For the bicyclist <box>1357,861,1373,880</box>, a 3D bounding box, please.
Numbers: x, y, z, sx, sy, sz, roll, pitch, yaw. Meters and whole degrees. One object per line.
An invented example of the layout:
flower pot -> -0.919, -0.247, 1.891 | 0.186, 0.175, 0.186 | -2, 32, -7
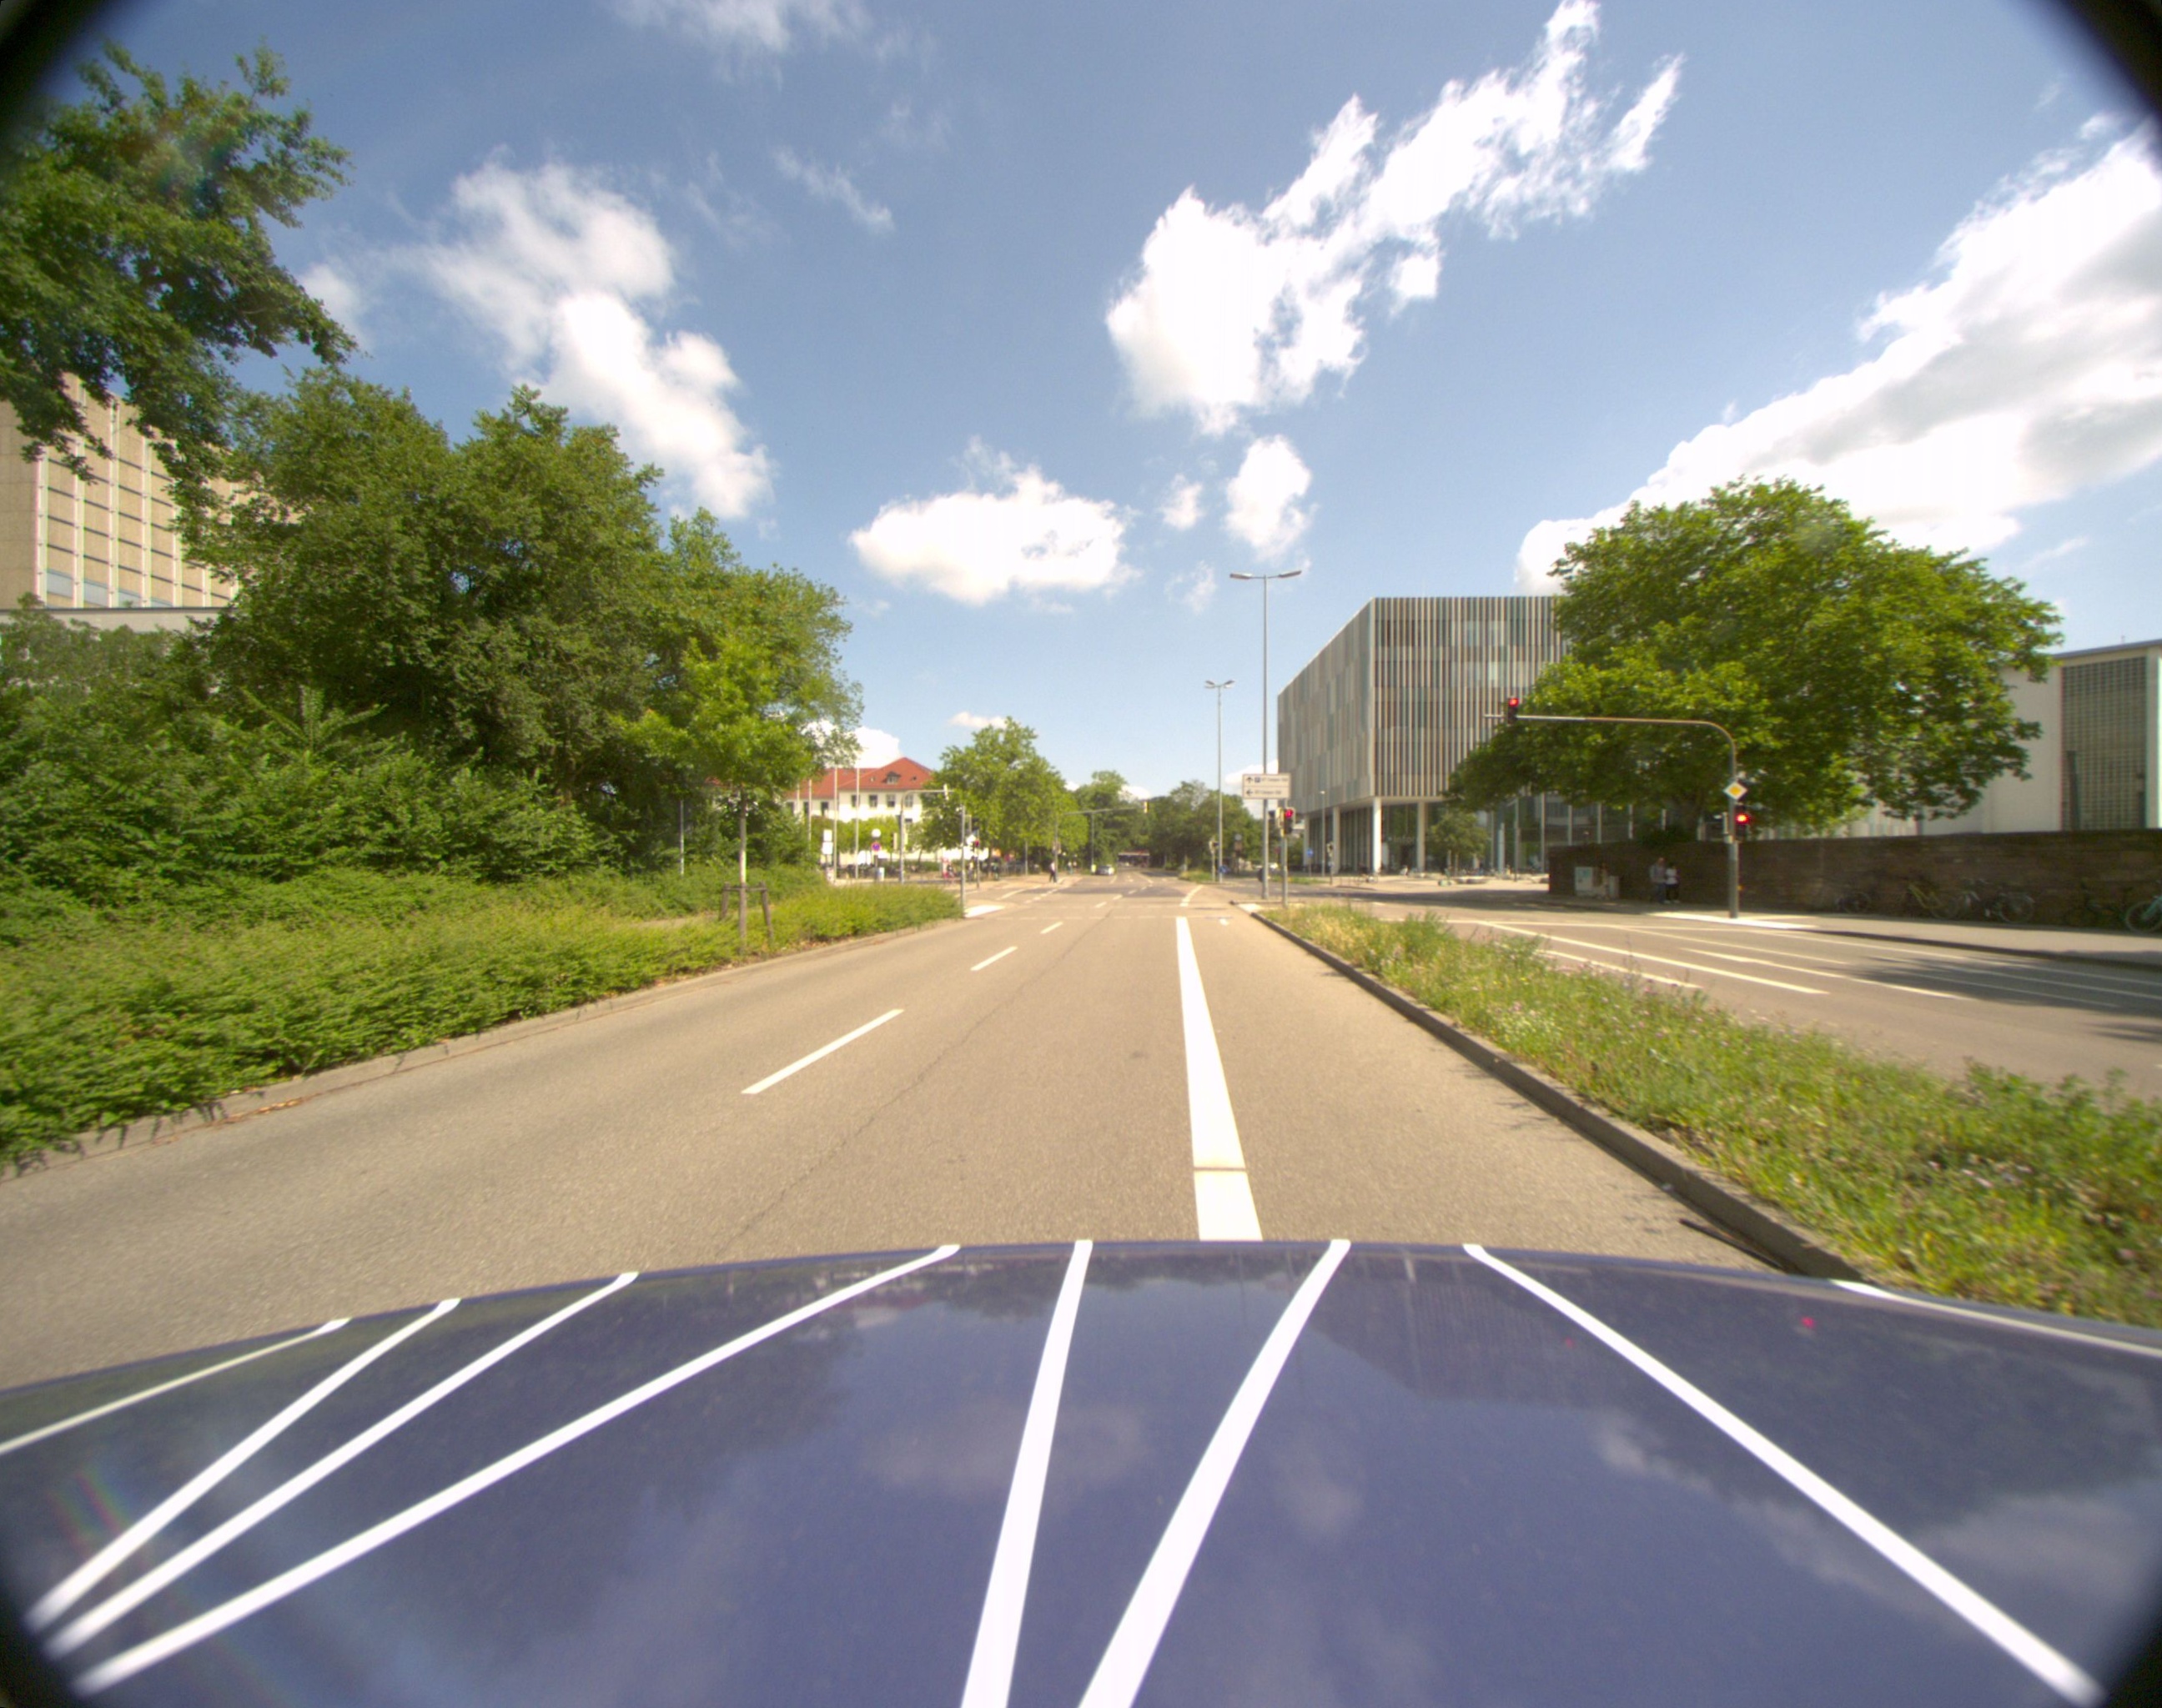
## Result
bicyclist -> 21.192, 1.236, 56.754 | 0.944, 1.456, 0.633 | 0, 0, 38

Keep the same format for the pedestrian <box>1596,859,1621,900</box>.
pedestrian -> 21.868, 1.047, 31.510 | 0.561, 1.641, 0.727 | 0, 0, 1

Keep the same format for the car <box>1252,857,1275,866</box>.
car -> 34.423, 1.484, 143.105 | 3.995, 1.676, 1.647 | 0, 0, 5

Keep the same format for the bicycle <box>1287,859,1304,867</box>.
bicycle -> 31.722, 1.313, 112.340 | 2.217, 1.083, 0.722 | 0, 0, -1

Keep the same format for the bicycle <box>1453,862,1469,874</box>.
bicycle -> 34.579, 1.254, 69.107 | 0.720, 1.090, 2.223 | 0, 0, 43

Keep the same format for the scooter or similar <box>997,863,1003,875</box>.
scooter or similar -> -7.404, 1.357, 69.231 | 0.347, 1.122, 1.168 | 0, 0, 5

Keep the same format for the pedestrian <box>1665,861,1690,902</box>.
pedestrian -> 22.314, 1.010, 28.431 | 0.477, 1.531, 0.616 | 0, 0, 1

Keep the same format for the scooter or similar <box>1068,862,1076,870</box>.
scooter or similar -> -1.123, 1.523, 96.006 | 0.517, 1.065, 1.372 | 0, 0, 19

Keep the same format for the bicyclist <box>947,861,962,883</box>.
bicyclist -> -8.652, 1.240, 52.009 | 0.614, 1.498, 0.916 | 0, 0, -44

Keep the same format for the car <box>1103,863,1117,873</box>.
car -> 4.006, 1.959, 105.052 | 1.559, 1.335, 4.002 | 2, 0, 6

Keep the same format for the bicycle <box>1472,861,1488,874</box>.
bicycle -> 35.698, 1.213, 68.028 | 0.720, 1.090, 2.223 | 0, 0, 43

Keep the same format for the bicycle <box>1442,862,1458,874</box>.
bicycle -> 33.884, 1.253, 69.729 | 0.720, 1.090, 2.223 | 0, 0, 43

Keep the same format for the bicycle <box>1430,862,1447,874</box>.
bicycle -> 33.531, 1.326, 71.240 | 0.720, 1.090, 2.223 | 0, 0, 43

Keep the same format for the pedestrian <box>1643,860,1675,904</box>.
pedestrian -> 21.663, 1.036, 28.465 | 0.642, 1.641, 0.731 | 0, 0, 1

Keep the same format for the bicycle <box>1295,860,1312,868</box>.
bicycle -> 31.905, 1.393, 108.753 | 2.217, 1.090, 0.722 | 0, 0, -1

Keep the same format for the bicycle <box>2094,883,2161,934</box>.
bicycle -> 22.841, 1.167, 16.032 | 0.371, 1.042, 1.880 | 0, 0, -3

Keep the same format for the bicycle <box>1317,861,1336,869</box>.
bicycle -> 31.620, 1.434, 97.796 | 2.217, 1.090, 0.722 | 0, 0, -1

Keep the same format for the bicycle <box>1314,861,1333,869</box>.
bicycle -> 32.059, 1.417, 100.516 | 2.217, 1.090, 0.722 | 0, 0, -1

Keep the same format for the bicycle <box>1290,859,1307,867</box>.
bicycle -> 31.750, 1.347, 111.004 | 2.217, 1.090, 0.722 | 0, 0, -1

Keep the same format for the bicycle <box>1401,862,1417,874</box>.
bicycle -> 31.725, 1.339, 73.525 | 0.720, 1.090, 2.223 | 0, 0, 43

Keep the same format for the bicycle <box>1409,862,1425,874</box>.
bicycle -> 32.353, 1.347, 73.074 | 0.720, 1.090, 2.223 | 0, 0, 43

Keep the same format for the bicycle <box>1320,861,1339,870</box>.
bicycle -> 31.664, 1.465, 96.834 | 2.217, 1.090, 0.755 | 0, 0, -1

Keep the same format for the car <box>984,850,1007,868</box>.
car -> -9.656, 0.541, 85.839 | 1.998, 2.002, 4.902 | 0, 0, 0

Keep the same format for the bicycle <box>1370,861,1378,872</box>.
bicycle -> 29.514, 1.279, 76.617 | 0.547, 1.090, 1.636 | 0, 0, 15

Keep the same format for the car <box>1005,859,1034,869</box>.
car -> -8.797, 1.436, 108.719 | 3.999, 1.416, 1.757 | 0, 0, -5

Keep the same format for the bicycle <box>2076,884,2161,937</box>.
bicycle -> 22.273, 1.176, 15.815 | 0.593, 1.042, 1.880 | 0, 0, -3

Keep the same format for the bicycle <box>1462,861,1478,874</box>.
bicycle -> 35.125, 1.220, 68.532 | 0.720, 1.090, 2.223 | 0, 0, 43

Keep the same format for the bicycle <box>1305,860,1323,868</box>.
bicycle -> 31.503, 1.355, 102.634 | 2.217, 1.090, 0.722 | 0, 0, -1

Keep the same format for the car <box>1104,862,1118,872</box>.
car -> 3.873, 1.691, 99.857 | 1.708, 1.321, 4.000 | 2, 0, 1

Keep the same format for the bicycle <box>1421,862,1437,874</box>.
bicycle -> 32.907, 1.329, 71.832 | 0.720, 1.090, 2.223 | 0, 0, 43

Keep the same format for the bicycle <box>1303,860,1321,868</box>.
bicycle -> 31.481, 1.385, 103.397 | 2.217, 1.090, 0.722 | 0, 0, -1

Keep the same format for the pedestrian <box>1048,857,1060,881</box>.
pedestrian -> -2.056, 1.131, 58.505 | 0.701, 1.815, 0.942 | 3, 1, 4

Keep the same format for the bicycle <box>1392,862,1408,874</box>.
bicycle -> 31.110, 1.345, 73.990 | 0.720, 1.090, 2.223 | 0, 0, 43

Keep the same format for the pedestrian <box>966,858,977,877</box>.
pedestrian -> -9.566, 1.209, 66.602 | 0.740, 1.640, 0.640 | 0, 0, 24

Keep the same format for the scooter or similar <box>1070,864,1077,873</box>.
scooter or similar -> -0.919, 1.759, 93.534 | 0.518, 1.071, 1.442 | 0, 0, 12

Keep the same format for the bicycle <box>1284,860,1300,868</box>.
bicycle -> 32.358, 1.540, 116.365 | 2.217, 1.090, 0.722 | 0, 0, -1

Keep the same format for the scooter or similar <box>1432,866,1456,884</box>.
scooter or similar -> 23.618, 1.341, 49.479 | 1.504, 1.150, 0.503 | 0, 0, -21

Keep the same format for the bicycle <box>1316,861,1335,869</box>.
bicycle -> 31.908, 1.397, 99.107 | 2.217, 1.090, 0.735 | 0, 0, -1
